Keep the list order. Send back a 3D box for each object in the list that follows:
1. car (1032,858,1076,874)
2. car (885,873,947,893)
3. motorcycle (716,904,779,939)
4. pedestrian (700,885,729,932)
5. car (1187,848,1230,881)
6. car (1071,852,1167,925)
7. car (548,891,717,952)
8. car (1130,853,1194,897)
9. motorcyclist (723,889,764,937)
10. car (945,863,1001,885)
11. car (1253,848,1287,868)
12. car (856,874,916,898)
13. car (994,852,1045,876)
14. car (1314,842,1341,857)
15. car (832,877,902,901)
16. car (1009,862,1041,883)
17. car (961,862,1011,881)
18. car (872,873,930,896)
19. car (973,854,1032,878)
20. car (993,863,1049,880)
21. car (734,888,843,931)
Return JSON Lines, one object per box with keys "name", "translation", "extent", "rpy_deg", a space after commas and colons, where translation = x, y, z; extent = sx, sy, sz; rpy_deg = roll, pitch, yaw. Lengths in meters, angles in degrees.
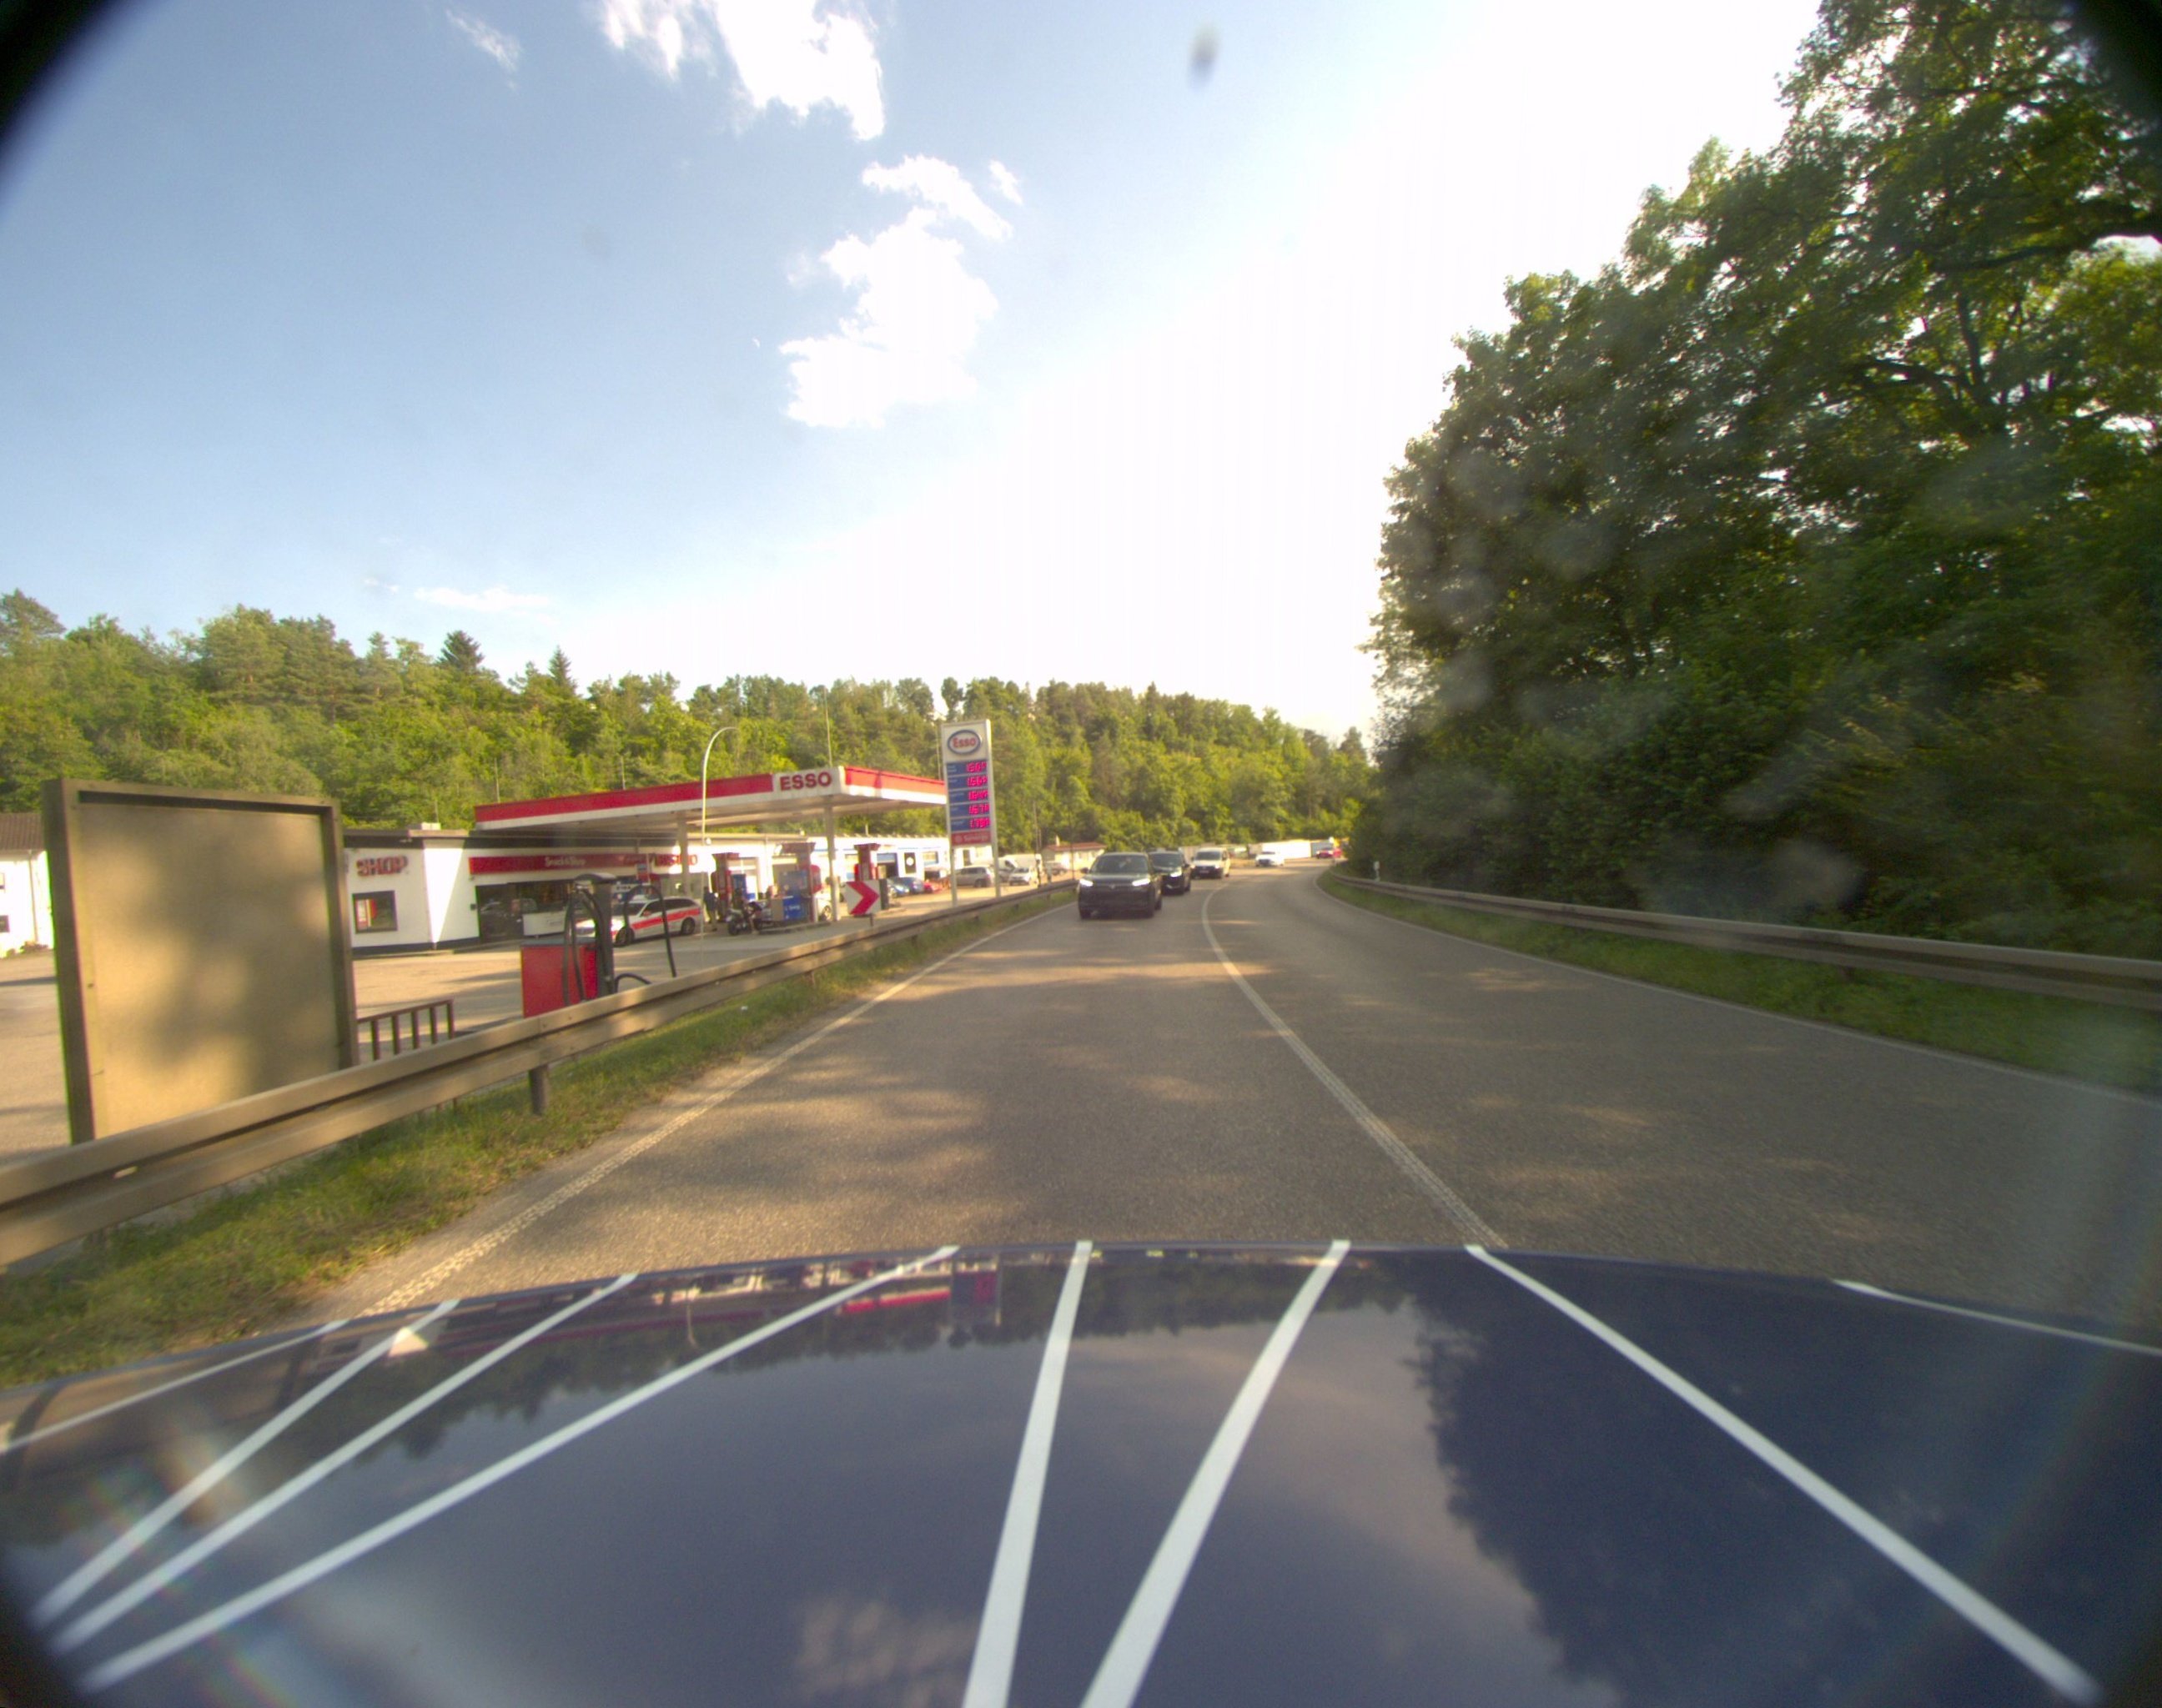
{"name": "car", "translation": [-3.008, 1.334, 84.692], "extent": [4.411, 1.660, 1.939], "rpy_deg": [-1, -1, -27]}
{"name": "car", "translation": [-12.255, 2.177, 56.515], "extent": [4.073, 1.340, 1.896], "rpy_deg": [-2, 1, 14]}
{"name": "motorcycle", "translation": [-11.893, 2.384, 27.195], "extent": [0.763, 1.006, 2.343], "rpy_deg": [-3, 0, 13]}
{"name": "pedestrian", "translation": [-14.327, 2.132, 29.705], "extent": [0.618, 1.766, 0.705], "rpy_deg": [-4, 0, 14]}
{"name": "car", "translation": [7.463, 0.544, 44.018], "extent": [1.865, 1.710, 4.768], "rpy_deg": [-1, 1, 17]}
{"name": "car", "translation": [1.119, 0.807, 19.868], "extent": [1.858, 1.630, 4.444], "rpy_deg": [-1, 1, 11]}
{"name": "car", "translation": [-15.701, 2.305, 27.011], "extent": [2.096, 1.618, 5.184], "rpy_deg": [-3, 0, 13]}
{"name": "car", "translation": [3.218, 0.785, 29.527], "extent": [1.846, 1.560, 4.262], "rpy_deg": [-1, 0, 15]}
{"name": "motorcyclist", "translation": [-11.974, 2.083, 26.960], "extent": [0.859, 1.595, 0.928], "rpy_deg": [-4, 0, 13]}
{"name": "car", "translation": [-9.096, 1.693, 63.969], "extent": [4.254, 1.719, 1.893], "rpy_deg": [-1, 1, 11]}
{"name": "car", "translation": [16.514, 0.305, 66.300], "extent": [1.894, 1.437, 4.482], "rpy_deg": [-4, 0, 25]}
{"name": "car", "translation": [-13.399, 2.224, 52.307], "extent": [3.555, 1.398, 1.692], "rpy_deg": [-3, 0, 14]}
{"name": "car", "translation": [-6.532, 1.041, 80.759], "extent": [4.915, 2.435, 2.209], "rpy_deg": [-2, 1, 12]}
{"name": "car", "translation": [28.114, -0.548, 86.499], "extent": [1.856, 1.412, 4.426], "rpy_deg": [-4, 0, 32]}
{"name": "car", "translation": [-13.986, 2.275, 49.805], "extent": [3.964, 1.347, 1.778], "rpy_deg": [-2, 1, 10]}
{"name": "car", "translation": [-4.722, 1.562, 64.529], "extent": [1.793, 1.587, 3.991], "rpy_deg": [-1, 1, 10]}
{"name": "car", "translation": [-9.047, 1.644, 72.541], "extent": [4.246, 1.601, 1.896], "rpy_deg": [-2, 1, 14]}
{"name": "car", "translation": [-12.882, 2.191, 54.476], "extent": [3.549, 1.437, 1.735], "rpy_deg": [-3, 0, 14]}
{"name": "car", "translation": [-7.928, 1.186, 77.170], "extent": [5.482, 2.261, 2.297], "rpy_deg": [-2, 1, 13]}
{"name": "car", "translation": [-5.454, 1.639, 69.659], "extent": [4.727, 1.425, 1.959], "rpy_deg": [-1, 1, 12]}
{"name": "car", "translation": [-11.683, 2.200, 30.743], "extent": [1.845, 1.311, 4.394], "rpy_deg": [-3, 0, 14]}
